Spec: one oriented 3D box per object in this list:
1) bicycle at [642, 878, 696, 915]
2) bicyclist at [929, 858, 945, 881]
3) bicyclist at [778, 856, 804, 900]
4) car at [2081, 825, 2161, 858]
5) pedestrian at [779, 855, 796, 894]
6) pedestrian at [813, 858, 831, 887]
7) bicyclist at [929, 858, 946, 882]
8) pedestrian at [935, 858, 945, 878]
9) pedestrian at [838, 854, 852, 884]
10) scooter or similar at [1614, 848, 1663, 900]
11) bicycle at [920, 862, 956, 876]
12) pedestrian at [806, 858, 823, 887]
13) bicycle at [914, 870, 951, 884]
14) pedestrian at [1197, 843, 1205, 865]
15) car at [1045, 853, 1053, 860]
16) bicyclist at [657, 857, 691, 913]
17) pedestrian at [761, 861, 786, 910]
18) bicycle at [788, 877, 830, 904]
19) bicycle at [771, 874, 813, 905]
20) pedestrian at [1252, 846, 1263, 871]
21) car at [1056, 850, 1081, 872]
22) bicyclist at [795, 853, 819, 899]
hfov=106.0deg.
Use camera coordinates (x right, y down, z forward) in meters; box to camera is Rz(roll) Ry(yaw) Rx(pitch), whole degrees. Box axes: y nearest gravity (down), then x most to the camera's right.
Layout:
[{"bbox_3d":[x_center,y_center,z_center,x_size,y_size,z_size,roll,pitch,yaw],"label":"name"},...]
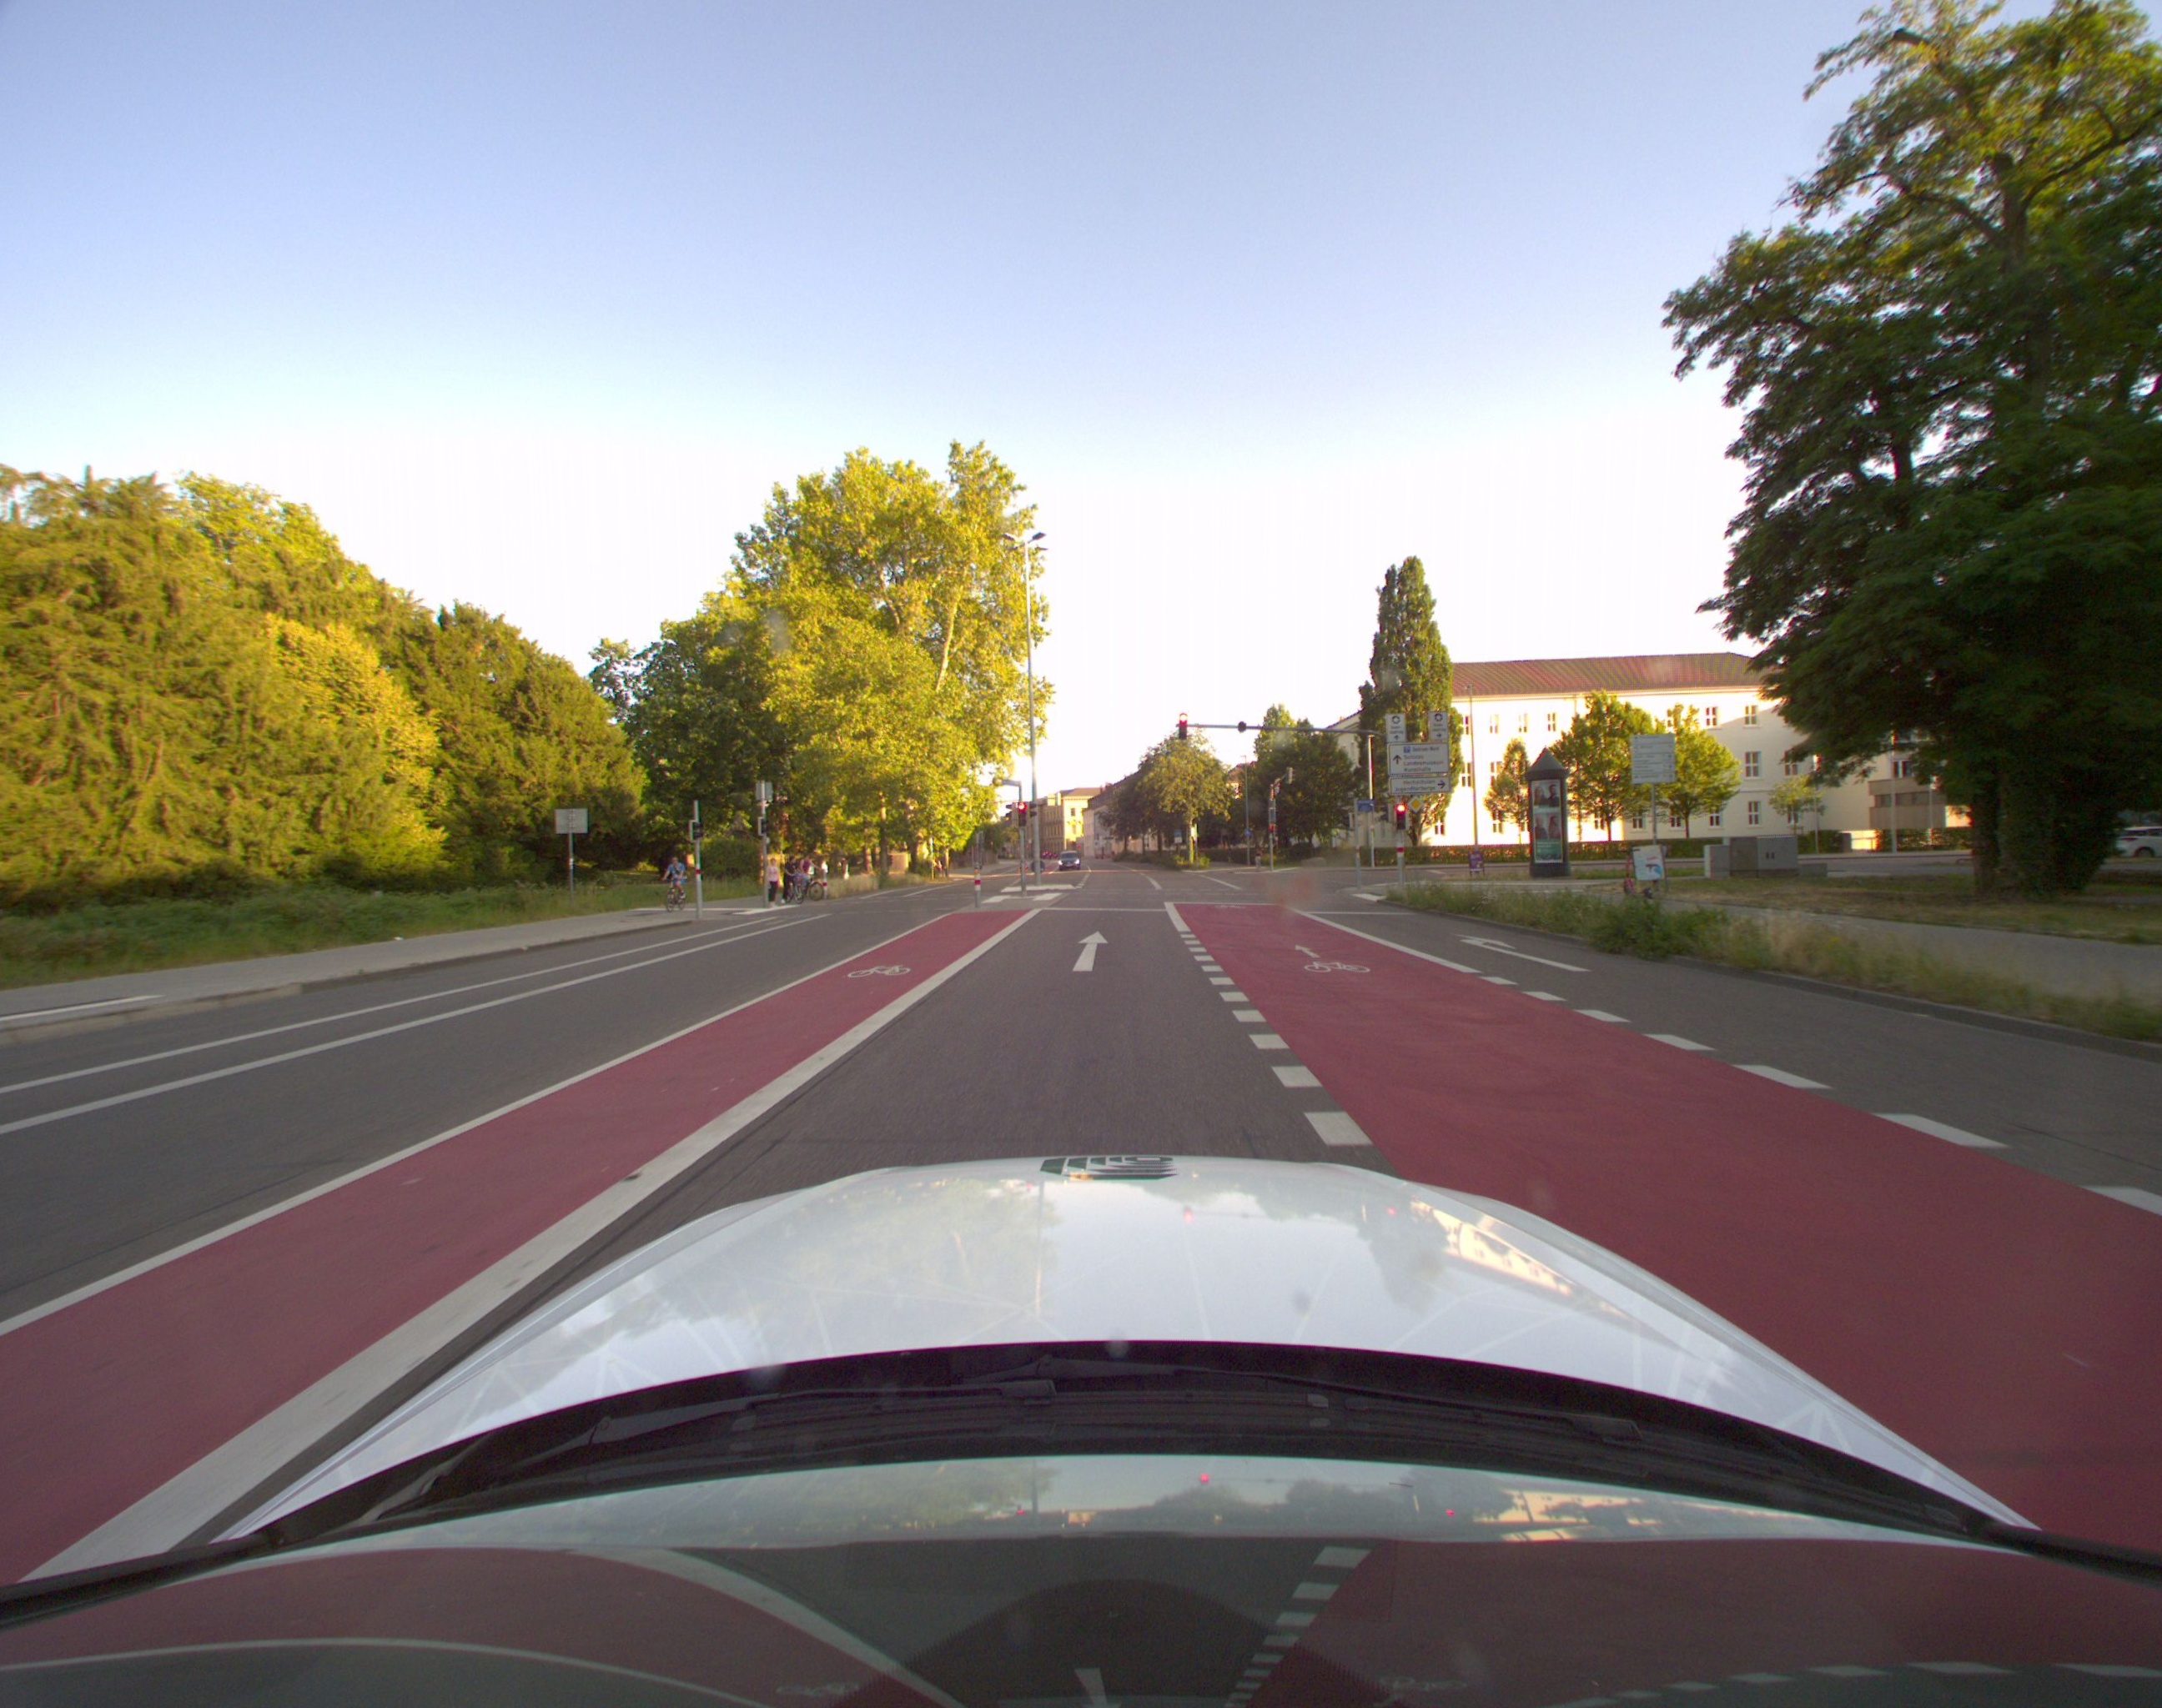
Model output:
[{"bbox_3d":[-13.681,1.378,27.100,0.768,1.100,2.120,-2,0,-3],"label":"bicycle"},{"bbox_3d":[-10.483,1.142,59.316,0.954,1.631,0.753,-2,0,3],"label":"bicyclist"},{"bbox_3d":[-10.947,0.900,30.747,0.631,1.649,0.634,-2,0,33],"label":"bicyclist"},{"bbox_3d":[45.602,-0.569,34.445,3.964,1.342,1.825,-2,0,8],"label":"car"},{"bbox_3d":[-15.262,1.065,42.365,0.654,2.013,0.599,0,0,-36],"label":"pedestrian"},{"bbox_3d":[-18.209,1.292,57.296,0.756,2.013,1.079,-1,0,8],"label":"pedestrian"},{"bbox_3d":[-10.229,1.138,58.093,0.954,1.631,0.753,-2,0,3],"label":"bicyclist"},{"bbox_3d":[-11.151,1.103,64.554,0.596,1.573,0.646,-2,0,3],"label":"pedestrian"},{"bbox_3d":[-16.472,1.046,56.831,0.637,2.013,0.702,-2,0,4],"label":"pedestrian"},{"bbox_3d":[13.655,0.475,19.971,0.309,1.231,1.312,-2,0,3],"label":"scooter or similar"},{"bbox_3d":[-10.416,1.102,59.310,2.419,0.924,0.776,-2,0,3],"label":"bicycle"},{"bbox_3d":[-18.342,1.265,56.032,0.799,2.013,0.994,-1,0,2],"label":"pedestrian"},{"bbox_3d":[-10.605,1.638,58.120,2.419,0.924,0.776,-2,0,3],"label":"bicycle"},{"bbox_3d":[11.192,0.030,75.986,0.633,2.013,0.720,-1,0,-1],"label":"pedestrian"},{"bbox_3d":[-7.351,0.610,186.695,1.815,1.588,3.996,-3,0,-3],"label":"car"},{"bbox_3d":[-13.618,1.039,27.281,0.733,1.824,0.711,-2,-1,-3],"label":"bicyclist"},{"bbox_3d":[-10.838,1.111,28.695,0.604,1.695,0.499,-2,0,4],"label":"pedestrian"},{"bbox_3d":[-10.824,1.452,32.410,1.749,1.030,0.583,-2,0,34],"label":"bicycle"},{"bbox_3d":[-10.913,1.348,30.735,1.548,1.111,0.637,-2,0,34],"label":"bicycle"},{"bbox_3d":[11.664,0.312,53.702,0.597,1.636,0.692,-1,0,4],"label":"pedestrian"},{"bbox_3d":[-1.034,0.592,69.845,1.843,1.720,4.296,-4,0,1],"label":"car"},{"bbox_3d":[-10.939,0.870,32.477,0.631,1.780,0.580,-2,0,33],"label":"bicyclist"}]
